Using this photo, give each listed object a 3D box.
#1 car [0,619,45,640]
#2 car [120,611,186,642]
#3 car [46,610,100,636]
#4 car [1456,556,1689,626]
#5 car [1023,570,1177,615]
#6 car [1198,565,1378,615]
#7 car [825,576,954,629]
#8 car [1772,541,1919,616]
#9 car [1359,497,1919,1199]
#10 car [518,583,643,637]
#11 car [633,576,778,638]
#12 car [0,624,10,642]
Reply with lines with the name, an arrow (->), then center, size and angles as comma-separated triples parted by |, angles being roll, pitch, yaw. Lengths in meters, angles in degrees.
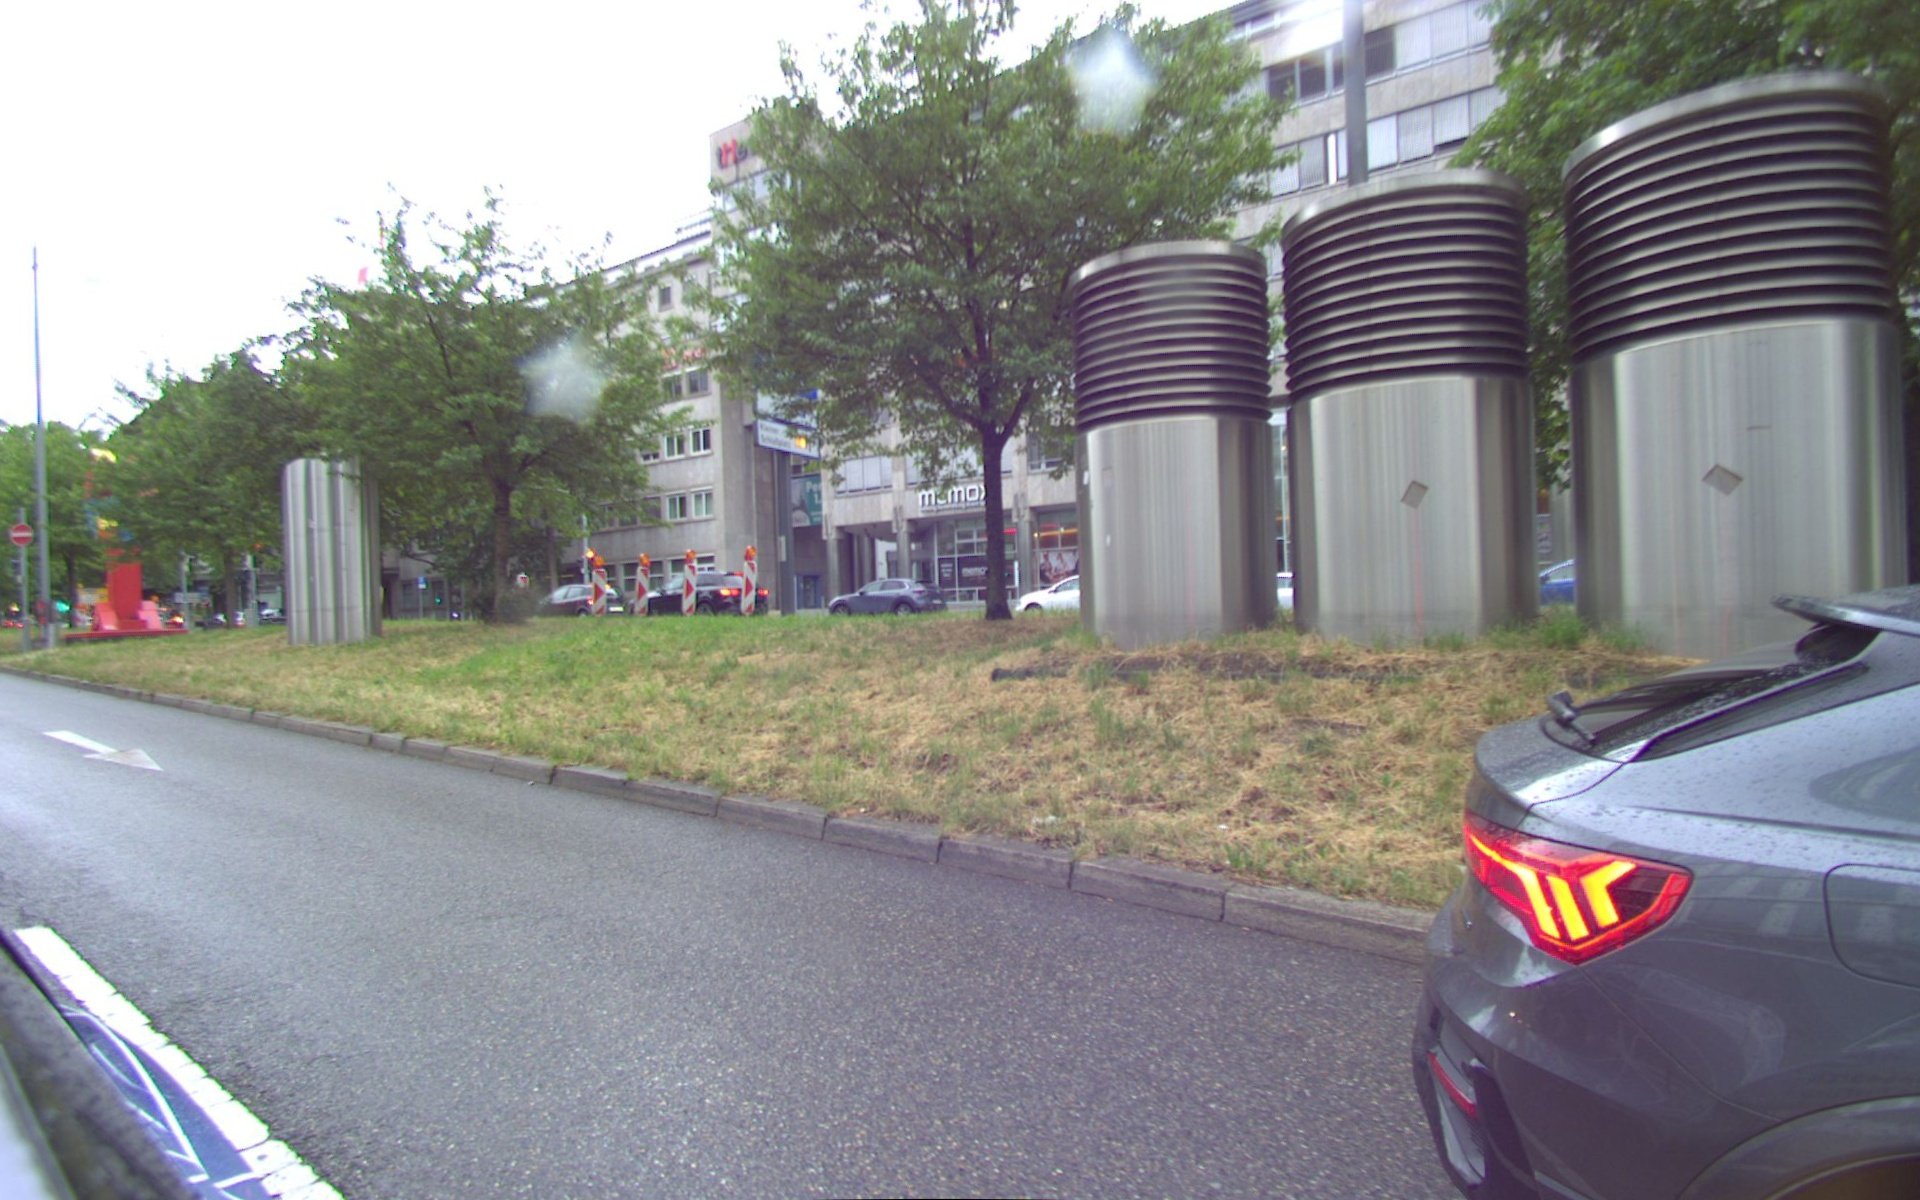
car -> -77.811, 2.436, 84.002 | 4.101, 1.599, 2.048 | -1, 2, 38
car -> -46.994, 1.531, 58.888 | 4.101, 1.599, 2.048 | -1, 2, 38
car -> -61.962, 1.595, 70.706 | 4.101, 1.599, 2.048 | -1, 2, 38
car -> 13.609, -0.185, 22.684 | 4.308, 1.395, 1.662 | -1, 2, 33
car -> 3.961, -0.199, 28.925 | 4.096, 1.130, 1.558 | -1, 2, 33
car -> 8.332, -0.241, 25.843 | 4.096, 1.130, 1.558 | -1, 2, 33
car -> -2.365, 0.092, 33.503 | 4.096, 1.592, 1.558 | -1, 2, 33
car -> 17.816, -0.417, 20.048 | 2.623, 1.395, 1.229 | -1, 2, 37
car -> 2.901, 0.604, 0.976 | 4.339, 1.529, 1.843 | -1, 0, 38
car -> -12.320, 0.316, 32.764 | 4.101, 1.592, 1.858 | -1, 2, 38
car -> -7.334, 0.188, 28.995 | 4.101, 1.592, 1.858 | -1, 2, 38
car -> -91.676, 3.155, 95.657 | 4.101, 1.599, 2.048 | -1, 2, 38
